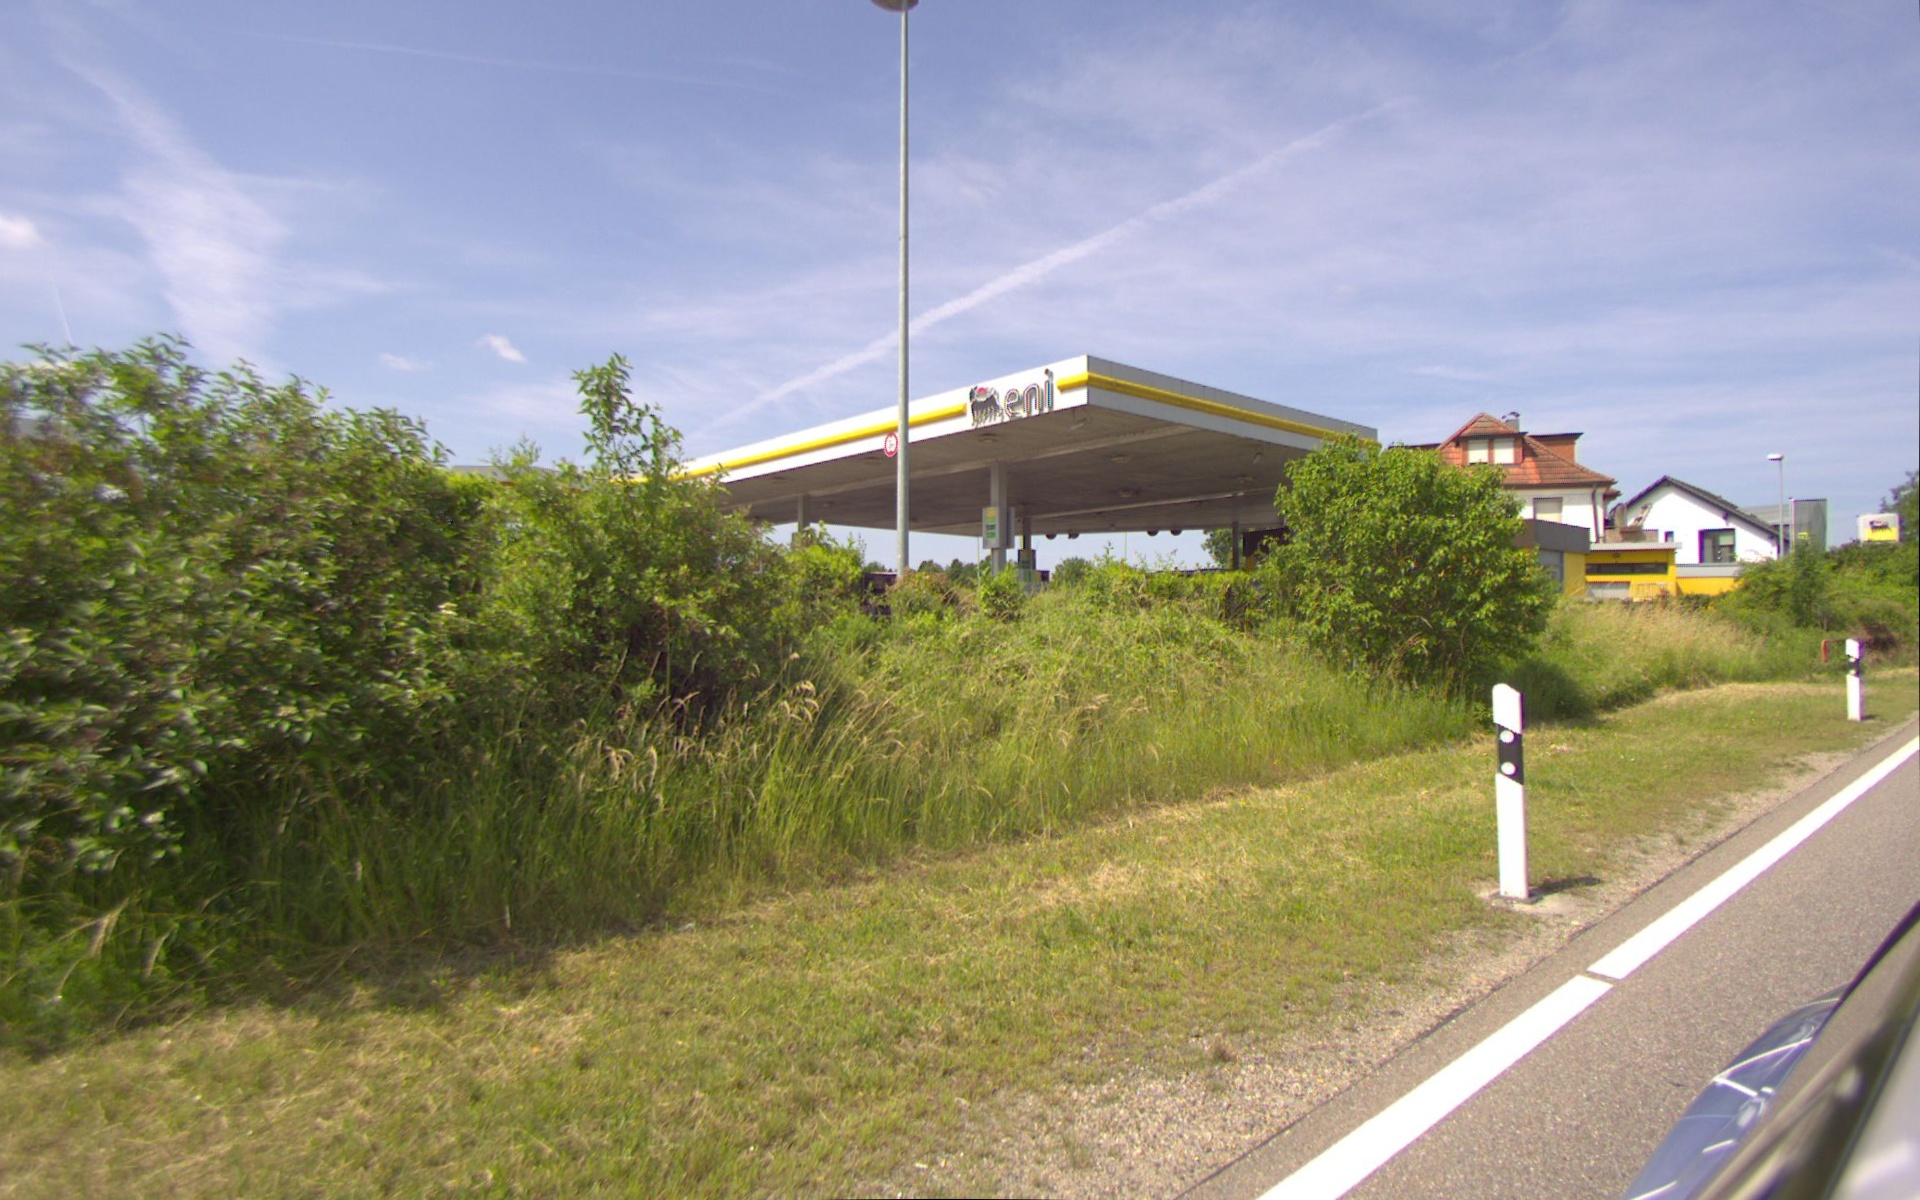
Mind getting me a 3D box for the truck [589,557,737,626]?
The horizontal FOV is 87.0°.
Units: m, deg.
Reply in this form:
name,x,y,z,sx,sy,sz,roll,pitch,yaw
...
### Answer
name,x,y,z,sx,sy,sz,roll,pitch,yaw
truck,-16.672,-0.504,56.952,7.446,3.672,3.011,-1,0,-32
